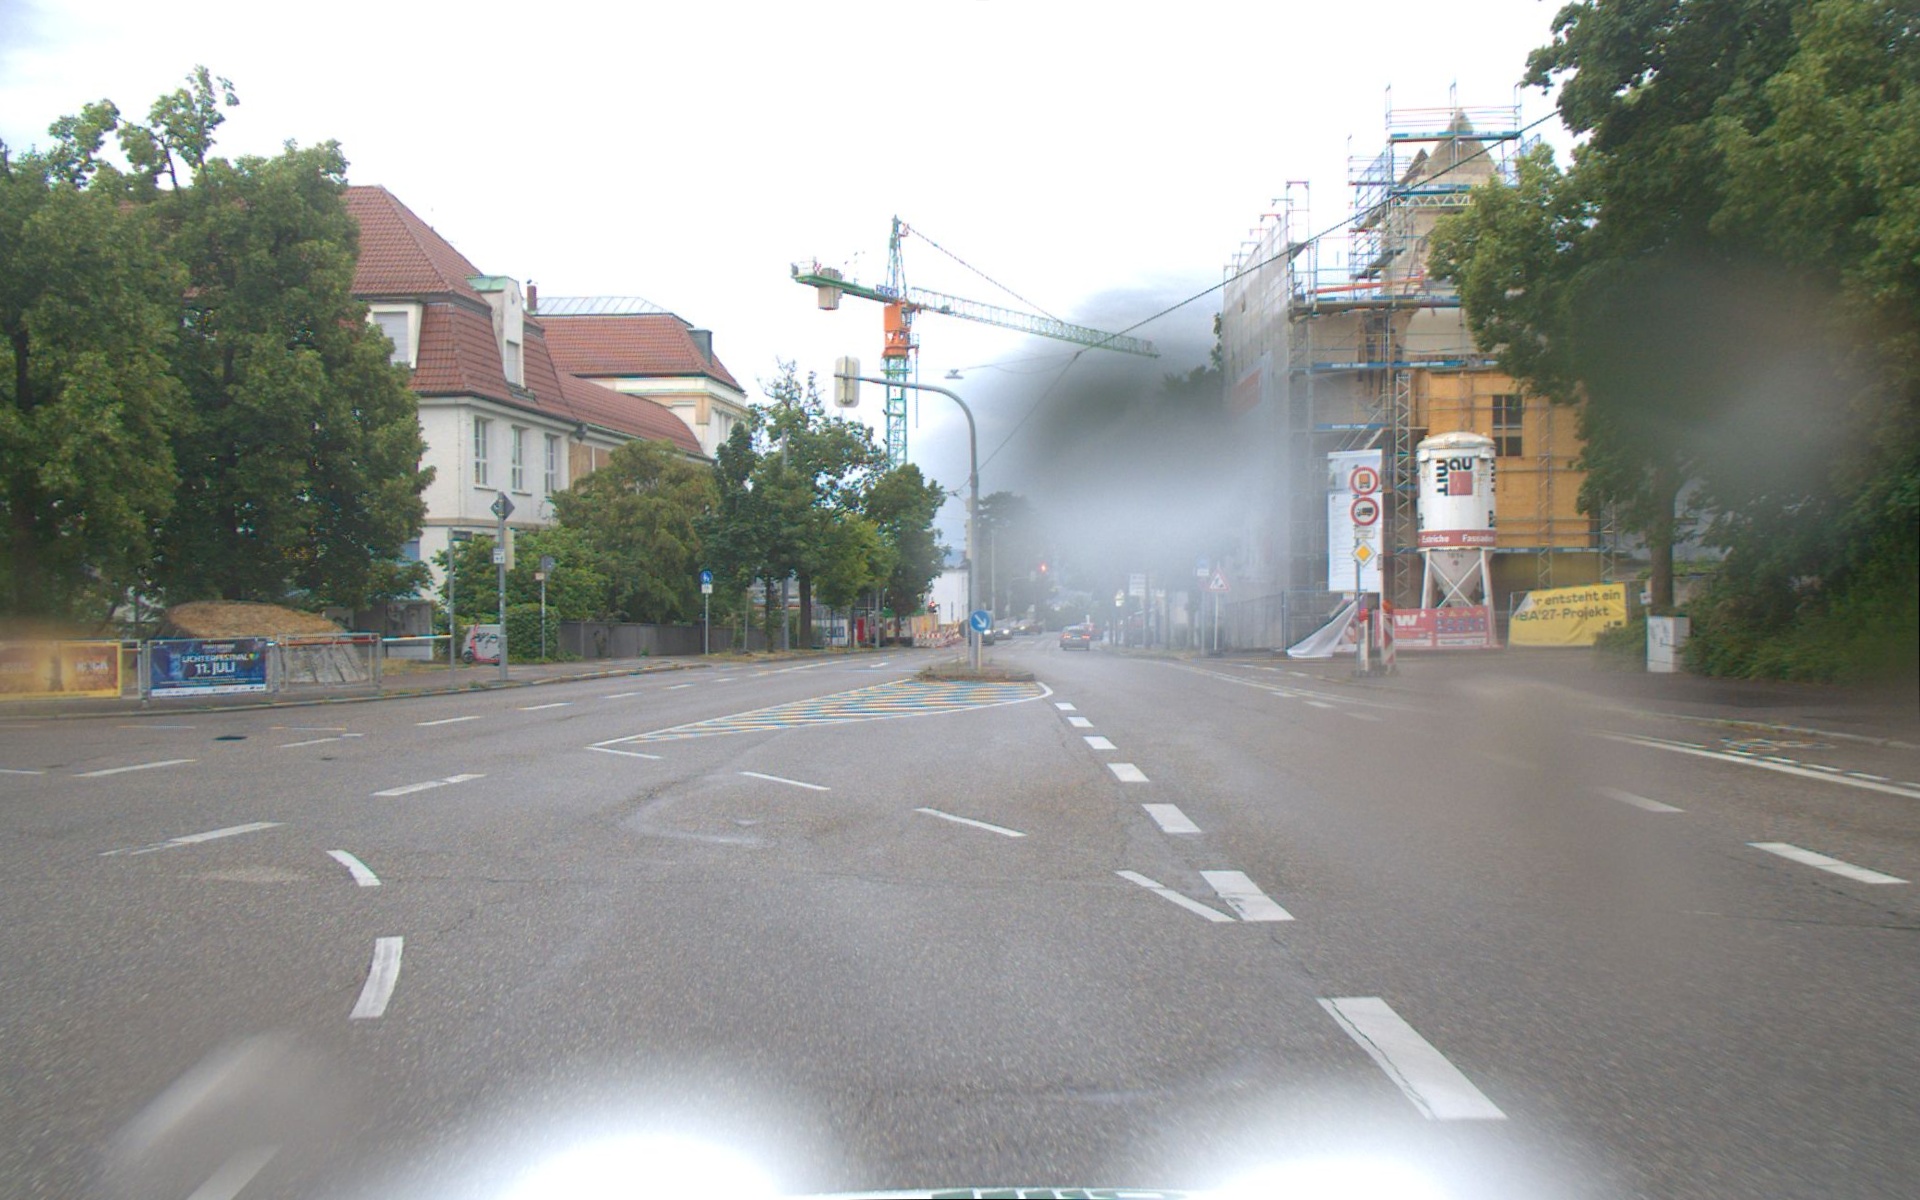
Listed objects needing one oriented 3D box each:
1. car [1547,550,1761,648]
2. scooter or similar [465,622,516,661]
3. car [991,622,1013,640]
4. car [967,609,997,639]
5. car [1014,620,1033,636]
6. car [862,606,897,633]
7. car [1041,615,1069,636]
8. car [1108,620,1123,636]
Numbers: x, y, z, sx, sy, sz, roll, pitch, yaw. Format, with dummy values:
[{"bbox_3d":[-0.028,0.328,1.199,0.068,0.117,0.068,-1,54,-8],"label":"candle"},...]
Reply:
[{"bbox_3d":[15.391,-0.022,36.794,1.985,2.049,3.935,-1,0,-44],"label":"car"},{"bbox_3d":[-11.659,1.032,41.063,0.529,0.971,1.083,-1,-2,41],"label":"scooter or similar"},{"bbox_3d":[3.658,2.645,143.031,1.542,1.486,3.540,0,0,8],"label":"car"},{"bbox_3d":[1.712,1.816,126.377,1.795,2.250,4.003,0,0,8],"label":"car"},{"bbox_3d":[5.993,2.600,155.881,1.468,1.473,3.483,0,0,8],"label":"car"},{"bbox_3d":[-6.212,1.500,127.914,1.951,2.049,4.003,0,0,8],"label":"car"},{"bbox_3d":[6.847,1.815,119.088,1.738,1.464,3.874,0,0,8],"label":"car"},{"bbox_3d":[20.889,3.724,222.392,1.951,2.049,4.002,0,0,5],"label":"car"}]
